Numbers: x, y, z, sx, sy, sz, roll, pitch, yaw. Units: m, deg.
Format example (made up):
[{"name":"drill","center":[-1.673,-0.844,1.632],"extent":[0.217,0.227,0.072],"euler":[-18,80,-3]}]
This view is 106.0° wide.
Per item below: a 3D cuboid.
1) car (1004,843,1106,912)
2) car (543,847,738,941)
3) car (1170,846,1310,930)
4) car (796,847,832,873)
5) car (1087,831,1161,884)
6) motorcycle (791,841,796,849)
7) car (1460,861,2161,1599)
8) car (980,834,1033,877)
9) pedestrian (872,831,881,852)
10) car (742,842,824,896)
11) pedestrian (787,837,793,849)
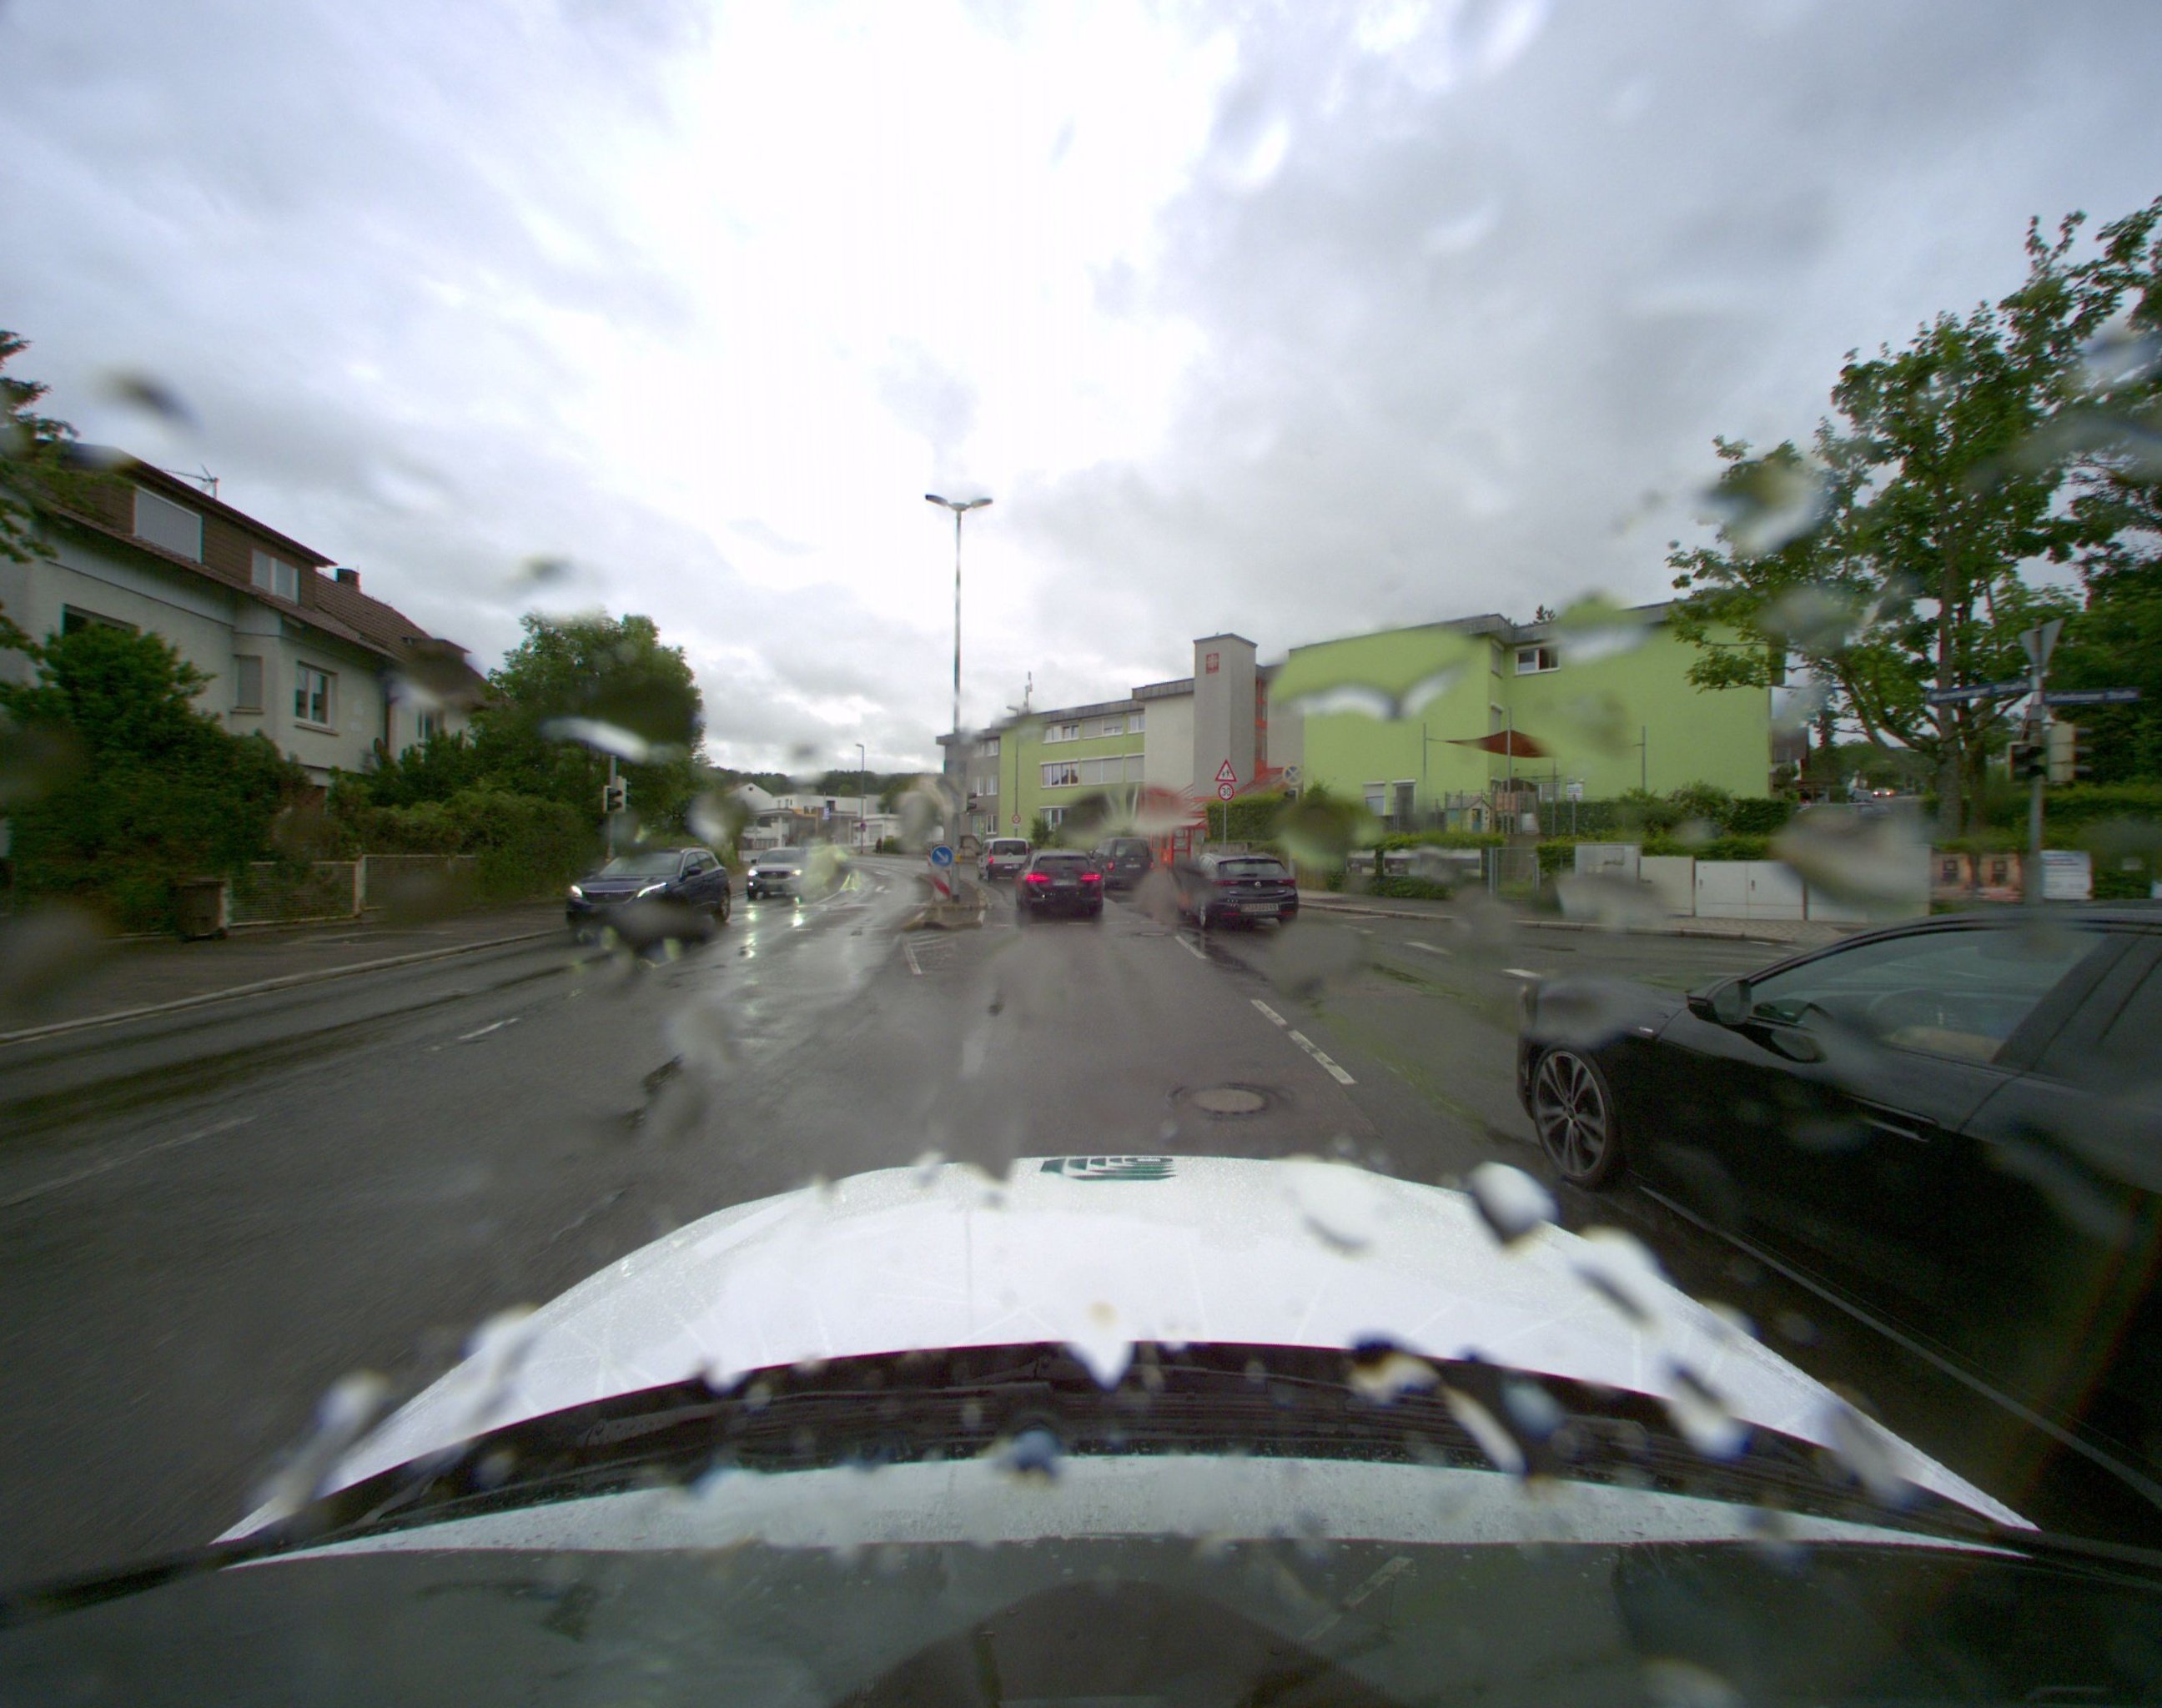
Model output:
[{"name":"car","center":[-0.735,0.515,19.576],"extent":[1.993,1.484,3.988],"euler":[0,-1,-9]},{"name":"car","center":[-8.451,0.687,16.135],"extent":[1.863,1.553,4.435],"euler":[-1,0,-7]},{"name":"car","center":[3.076,0.588,16.590],"extent":[1.754,1.449,3.993],"euler":[0,1,-5]},{"name":"car","center":[-15.604,0.351,47.488],"extent":[1.683,1.450,4.653],"euler":[0,-1,-22]},{"name":"car","center":[1.464,0.123,29.331],"extent":[1.838,1.767,3.986],"euler":[0,-1,-10]},{"name":"motorcycle","center":[-37.254,-1.137,105.625],"extent":[0.465,1.055,1.378],"euler":[0,-1,-28]},{"name":"car","center":[3.060,0.742,2.341],"extent":[1.859,1.424,4.741],"euler":[0,0,2]},{"name":"car","center":[-3.264,0.089,34.976],"extent":[1.993,1.737,3.986],"euler":[0,-1,-10]},{"name":"pedestrian","center":[-19.343,-1.174,77.059],"extent":[0.617,2.014,0.710],"euler":[0,-1,-33]},{"name":"car","center":[-10.025,0.498,27.710],"extent":[1.882,1.677,4.217],"euler":[0,-1,-10]},{"name":"pedestrian","center":[-37.696,-1.419,105.542],"extent":[0.613,1.656,0.580],"euler":[0,-1,-28]}]
